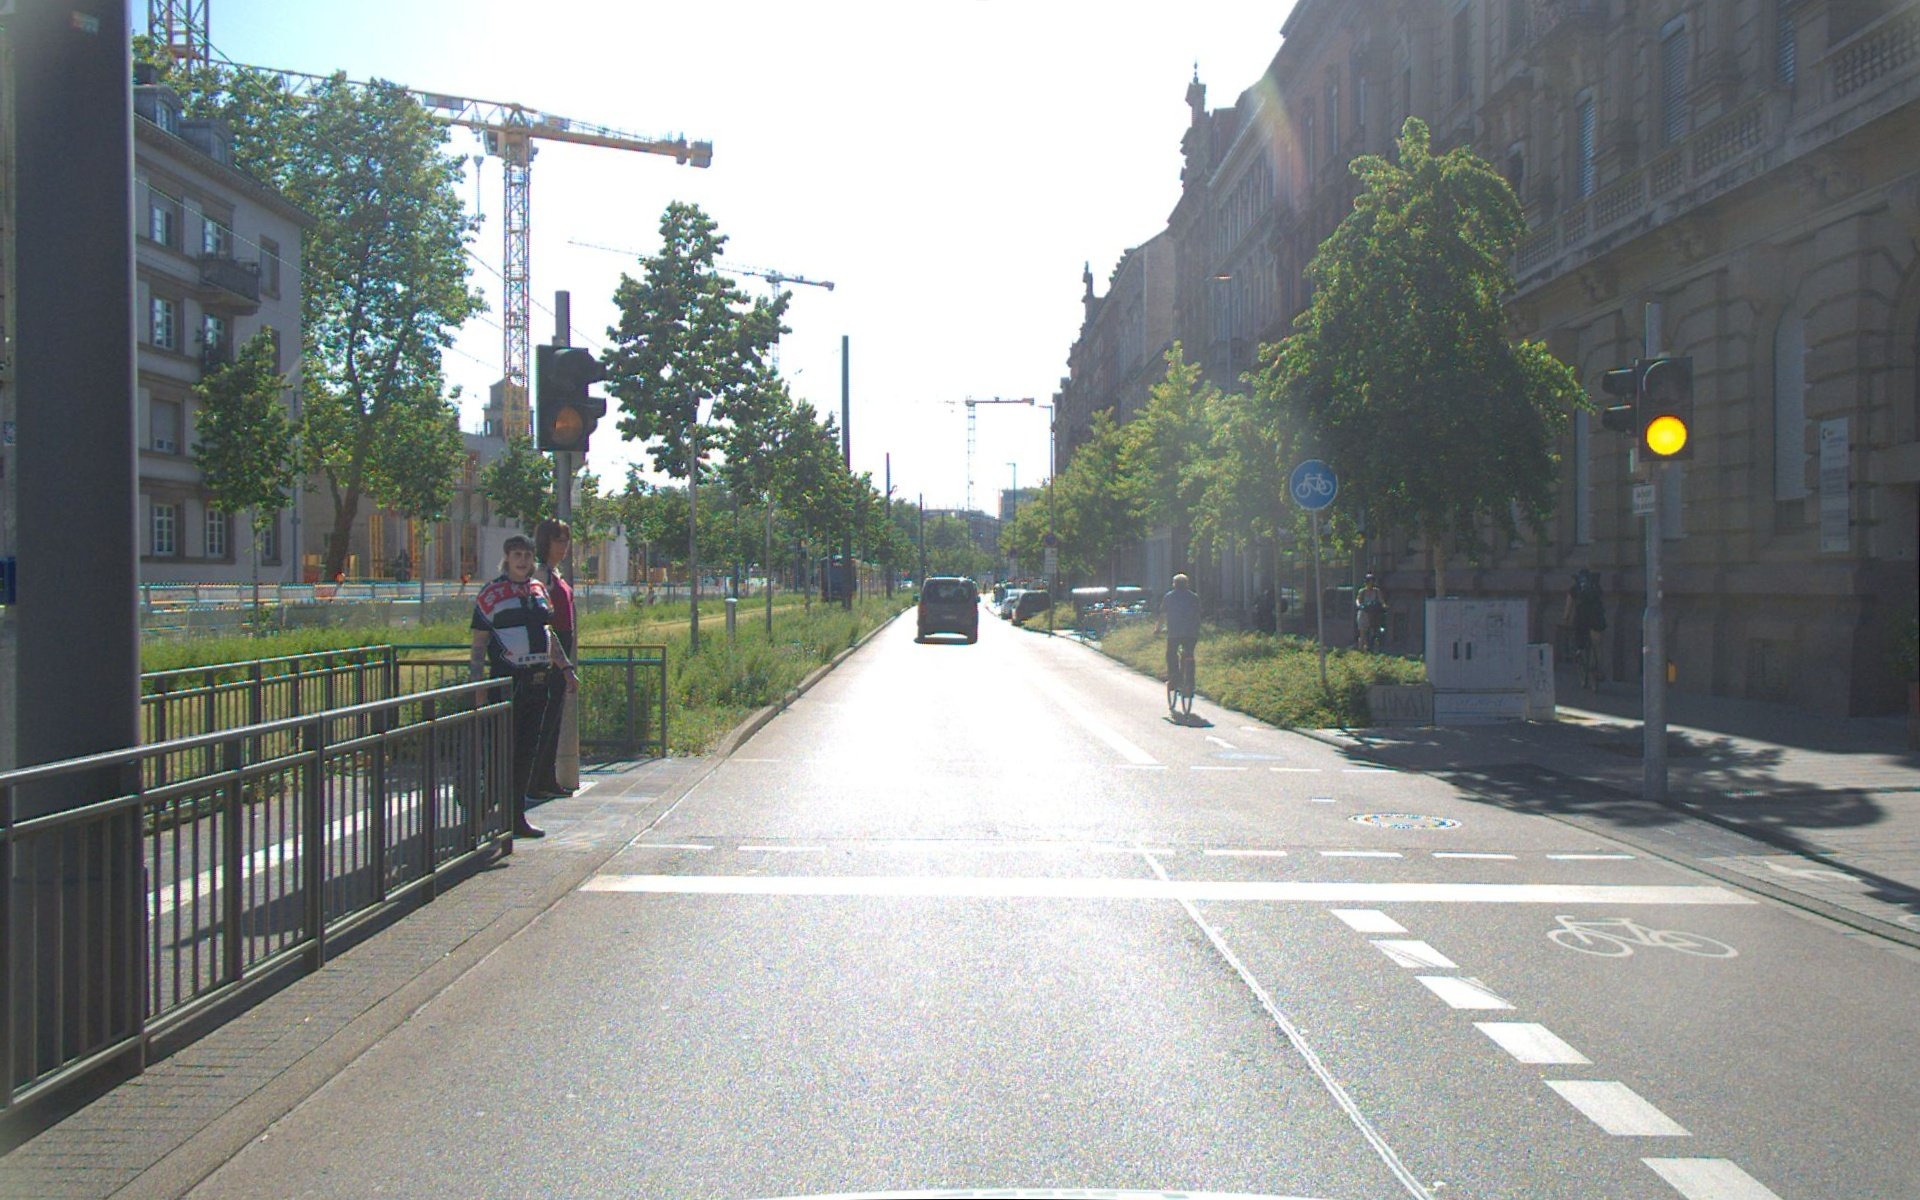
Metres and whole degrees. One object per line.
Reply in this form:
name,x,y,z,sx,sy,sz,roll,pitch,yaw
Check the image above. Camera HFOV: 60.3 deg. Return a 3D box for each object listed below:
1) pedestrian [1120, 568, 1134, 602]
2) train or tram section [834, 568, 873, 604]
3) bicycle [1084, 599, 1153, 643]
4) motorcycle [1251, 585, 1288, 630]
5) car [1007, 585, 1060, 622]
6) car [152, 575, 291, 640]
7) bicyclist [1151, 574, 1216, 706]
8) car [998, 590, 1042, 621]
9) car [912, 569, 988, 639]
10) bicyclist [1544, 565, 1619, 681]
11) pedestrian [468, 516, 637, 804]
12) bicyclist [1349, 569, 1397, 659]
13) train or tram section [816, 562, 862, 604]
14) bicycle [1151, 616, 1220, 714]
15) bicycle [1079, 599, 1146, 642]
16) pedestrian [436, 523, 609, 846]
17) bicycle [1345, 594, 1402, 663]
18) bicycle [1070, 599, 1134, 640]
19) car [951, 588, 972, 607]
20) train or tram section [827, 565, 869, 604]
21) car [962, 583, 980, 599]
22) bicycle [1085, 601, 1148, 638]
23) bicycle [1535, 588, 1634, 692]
pedestrian,8.063,-0.732,79.950,0.601,1.640,0.669,0,0,-1
train or tram section,-8.606,-1.076,134.605,2.700,2.790,9.860,1,0,-1
bicycle,4.287,0.564,44.803,1.756,1.048,0.527,-5,0,-1
motorcycle,9.245,0.206,49.442,0.686,1.289,1.981,0,1,-1
car,3.179,0.137,72.471,1.987,1.525,4.653,-1,0,-1
car,-18.629,0.153,41.915,1.779,1.542,3.999,-1,1,-1
bicyclist,2.973,0.519,22.063,0.670,1.702,0.922,2,0,-2
car,3.068,0.245,84.916,1.987,1.525,4.529,-1,0,-1
car,-0.321,0.102,49.364,2.155,1.960,4.653,-1,0,-1
bicyclist,8.771,0.311,23.356,0.647,1.556,0.801,-4,0,0
pedestrian,-2.822,0.397,11.528,1.055,1.942,0.652,-1,0,-8
bicyclist,7.786,0.249,31.194,0.653,1.668,0.960,0,0,-1
train or tram section,-8.341,-1.124,114.879,2.700,2.790,9.860,1,0,-1
bicycle,2.976,0.838,21.984,0.589,1.201,1.869,2,0,-2
bicycle,4.259,0.567,46.177,1.756,1.048,0.527,-5,0,-1
pedestrian,-2.576,0.473,9.841,0.848,1.819,0.969,1,0,-7
bicycle,7.781,0.522,31.173,0.571,1.244,1.900,0,1,-1
bicycle,4.219,0.575,49.191,1.756,1.048,0.527,-5,0,-1
car,0.151,-0.242,166.246,1.953,1.759,3.999,1,0,-1
train or tram section,-8.356,-1.098,124.726,2.700,2.790,9.860,1,0,-1
car,1.315,-1.070,196.265,1.953,1.870,3.999,1,0,-1
bicycle,4.524,0.562,47.724,1.756,1.048,0.527,-1,0,-1
bicycle,8.804,0.537,23.378,0.603,1.353,1.900,-4,1,0
